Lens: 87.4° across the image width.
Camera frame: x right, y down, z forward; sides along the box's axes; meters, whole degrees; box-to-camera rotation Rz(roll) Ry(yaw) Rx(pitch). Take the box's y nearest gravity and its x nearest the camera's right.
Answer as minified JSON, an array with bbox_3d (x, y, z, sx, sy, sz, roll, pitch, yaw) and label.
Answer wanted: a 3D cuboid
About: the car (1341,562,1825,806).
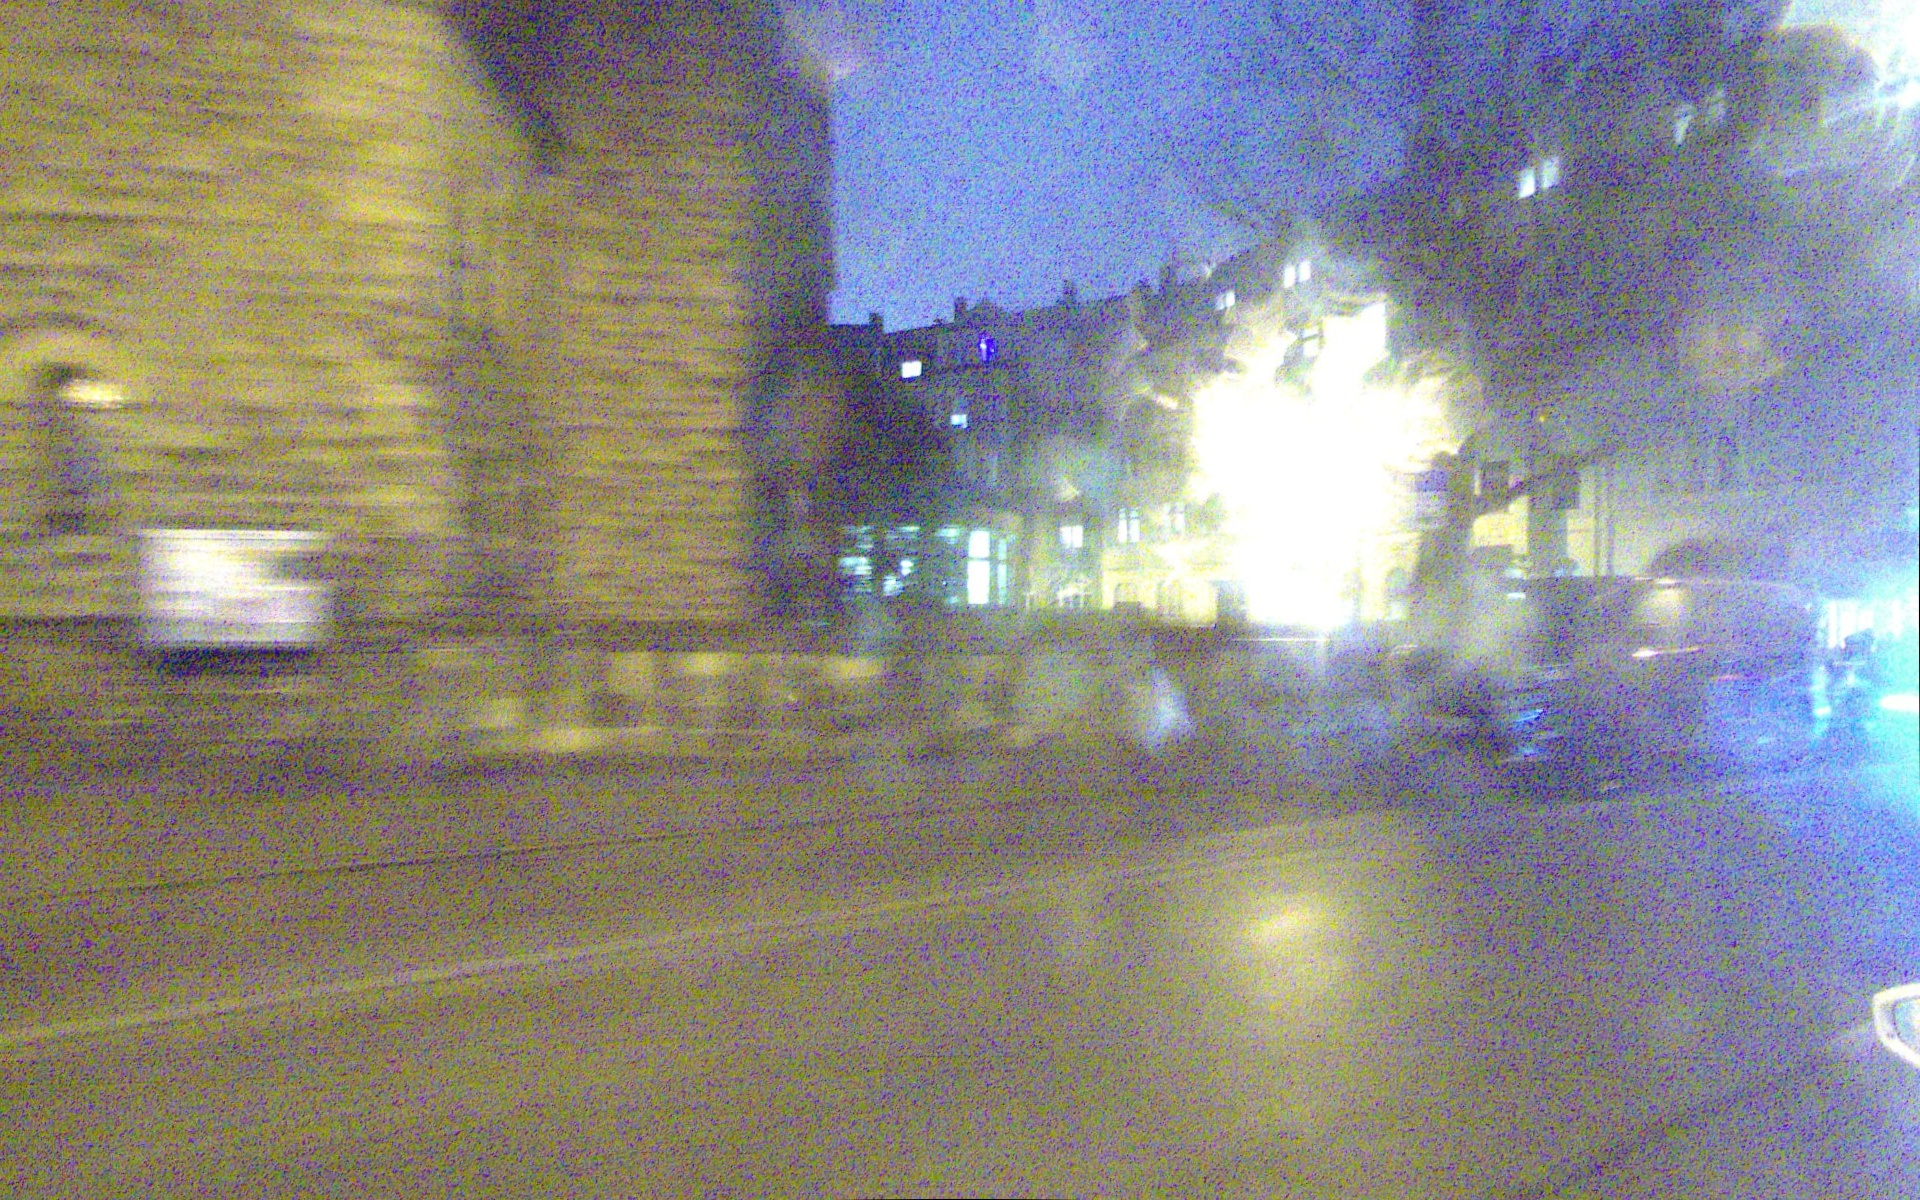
[{"bbox_3d":[6.072,0.700,9.668,4.767,1.870,1.859,1,-1,-28],"label":"car"}]

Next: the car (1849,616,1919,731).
[{"bbox_3d":[13.842,1.003,14.358,1.530,1.462,3.542,3,2,43],"label":"car"}]
